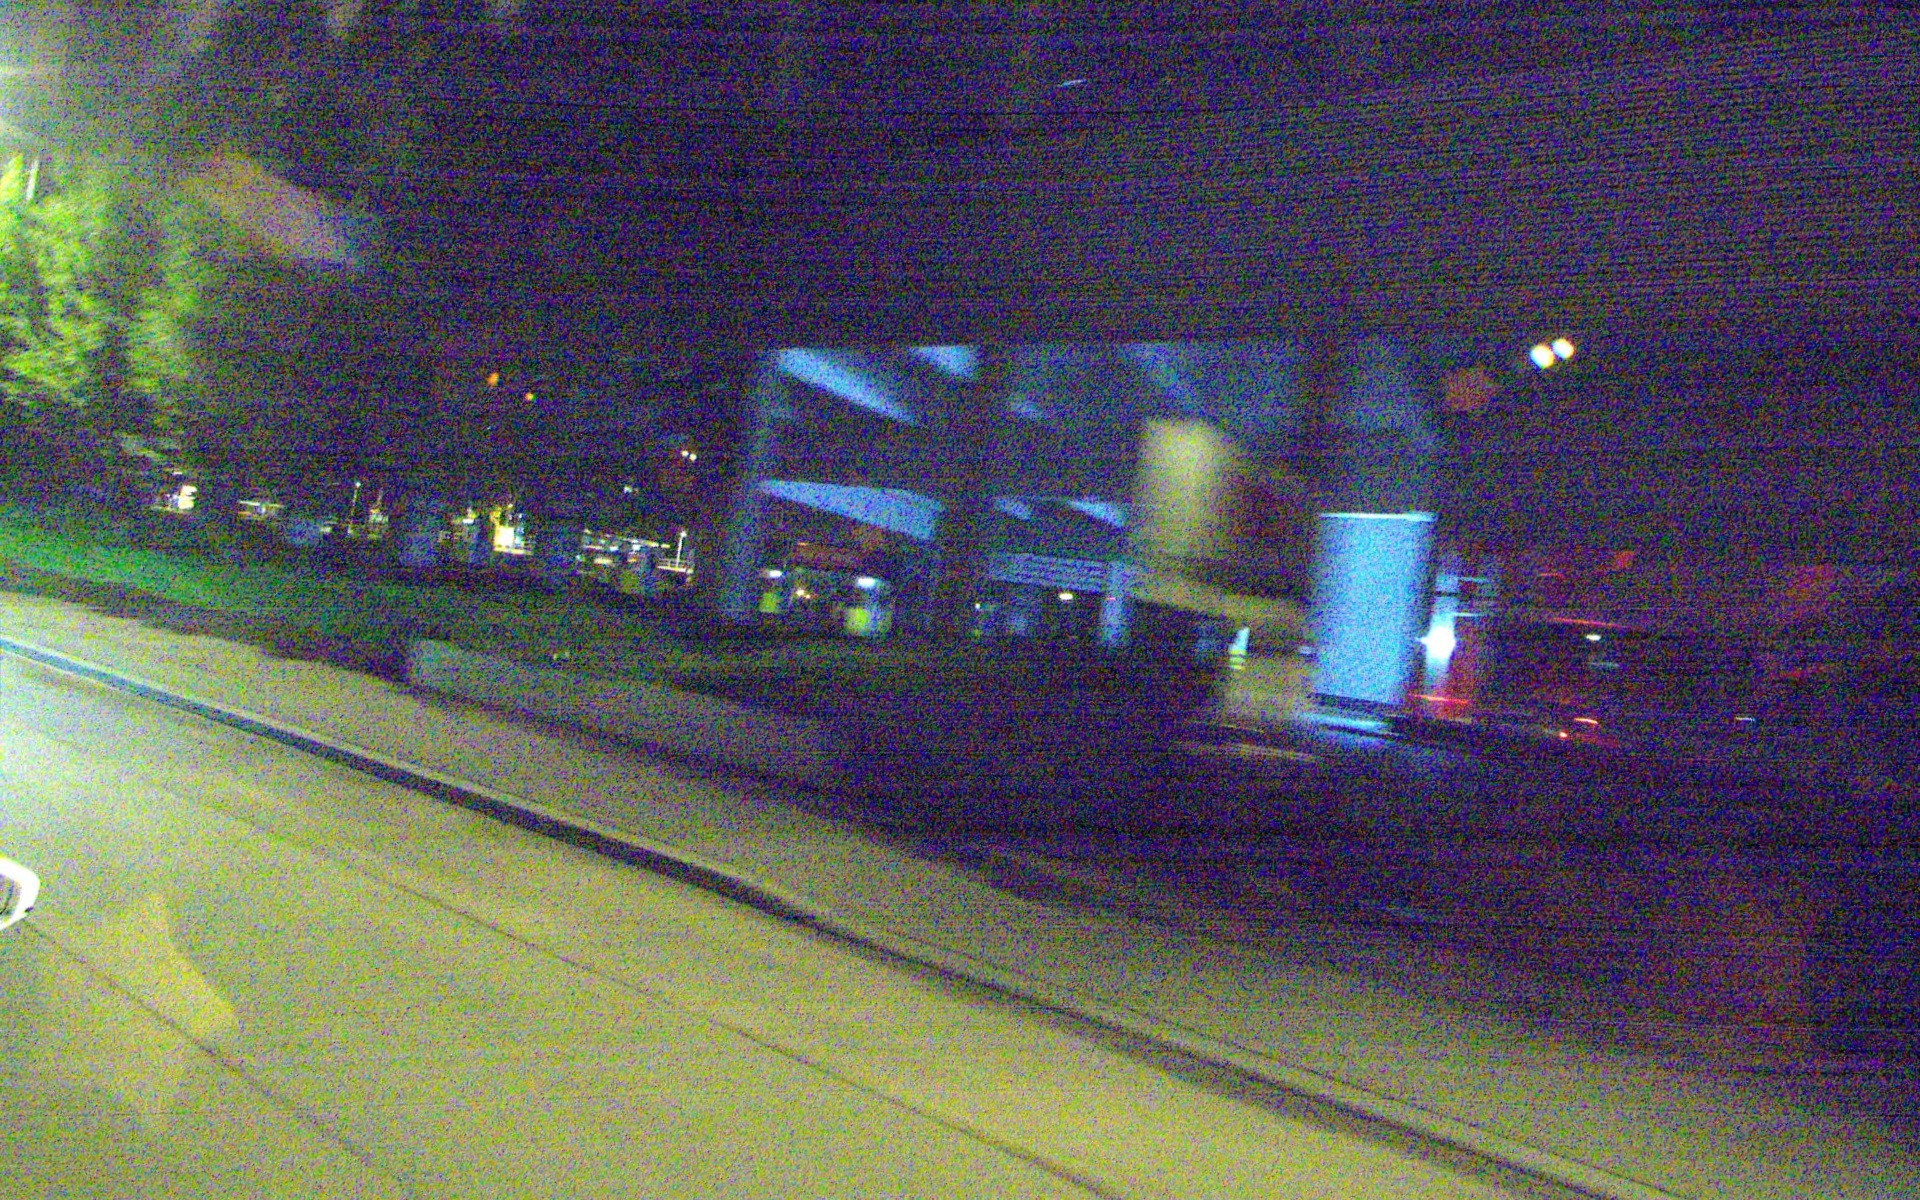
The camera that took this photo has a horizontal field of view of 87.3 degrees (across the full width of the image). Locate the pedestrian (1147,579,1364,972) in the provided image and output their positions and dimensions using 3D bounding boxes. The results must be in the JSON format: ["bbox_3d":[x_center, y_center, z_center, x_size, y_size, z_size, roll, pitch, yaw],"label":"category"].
[{"bbox_3d":[1.583,0.876,5.392,0.806,1.877,0.570,7,2,32],"label":"pedestrian"}]
